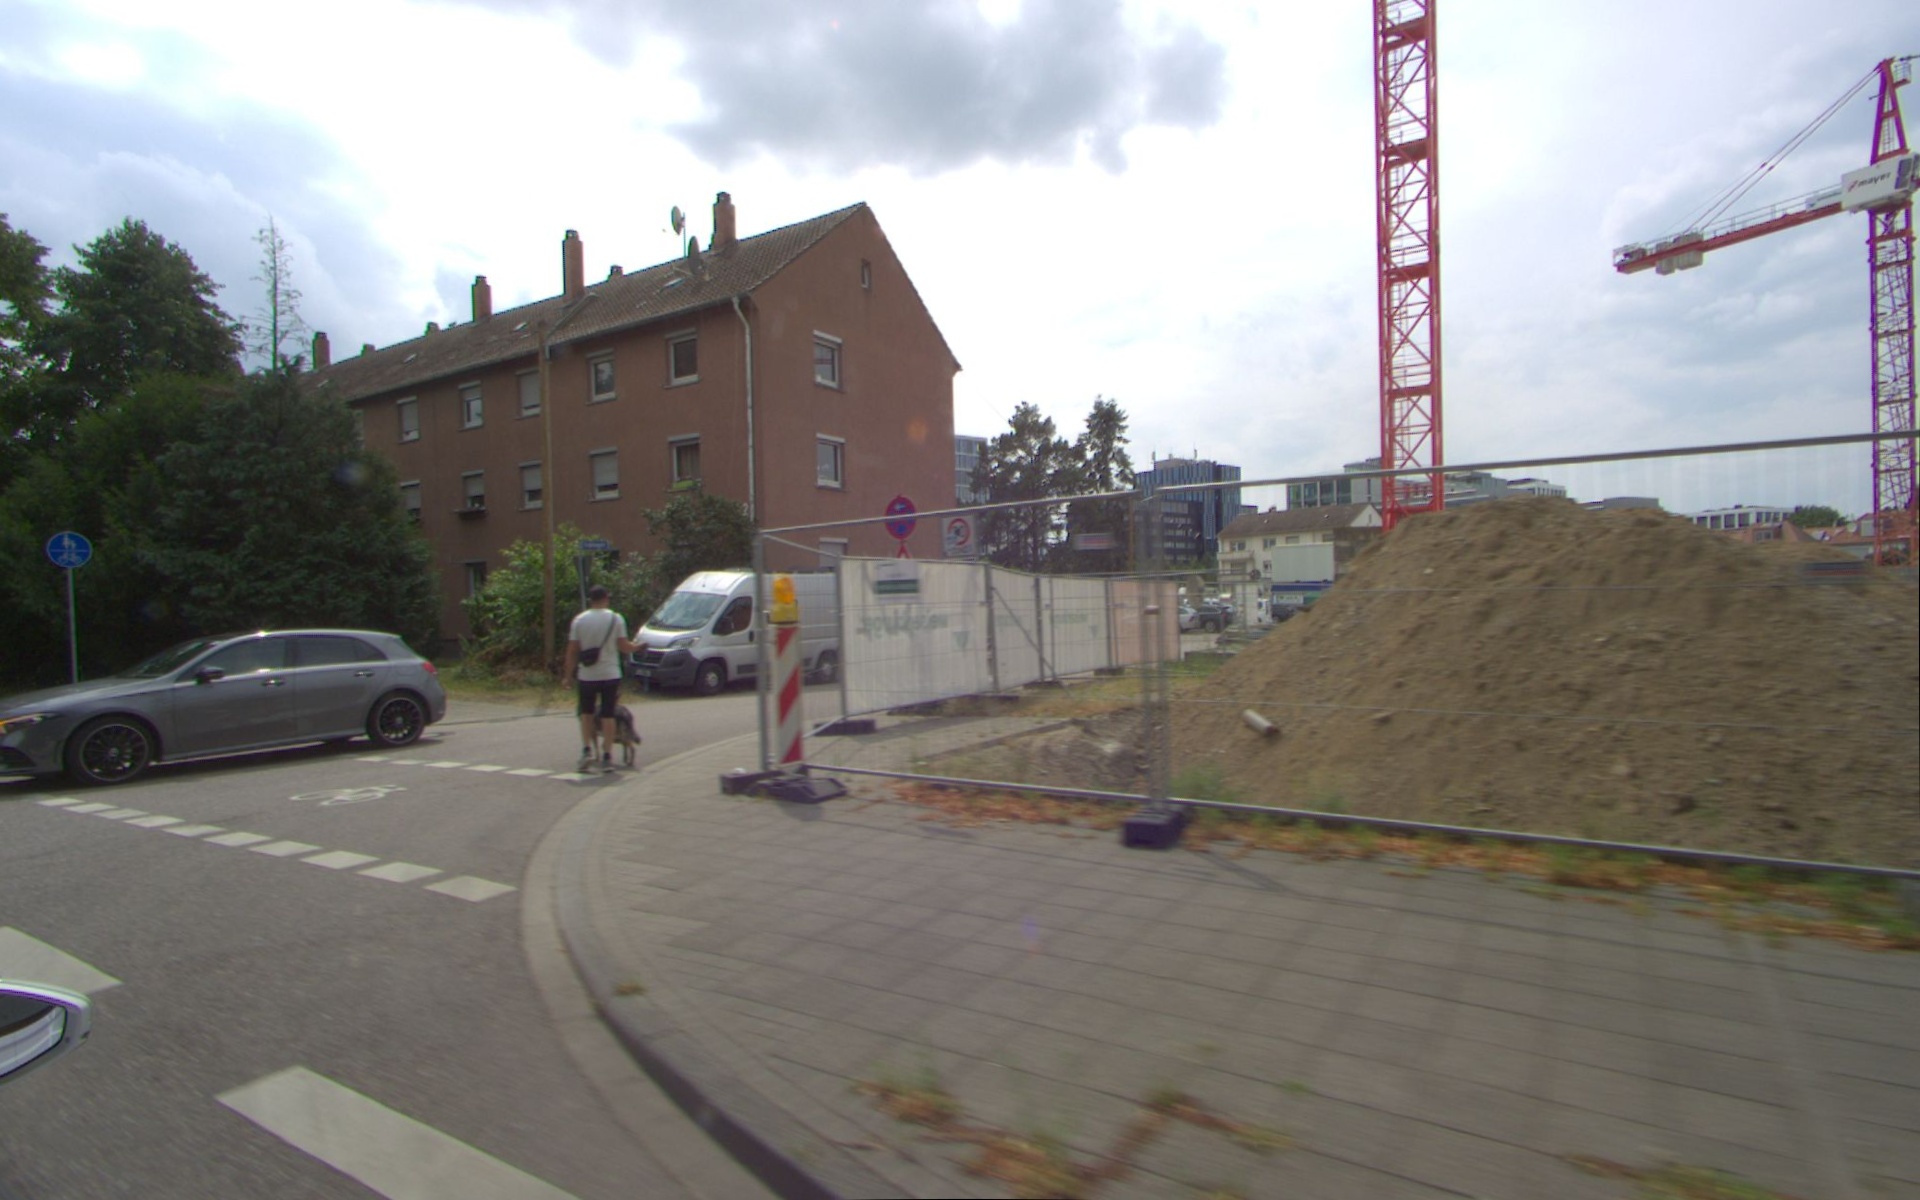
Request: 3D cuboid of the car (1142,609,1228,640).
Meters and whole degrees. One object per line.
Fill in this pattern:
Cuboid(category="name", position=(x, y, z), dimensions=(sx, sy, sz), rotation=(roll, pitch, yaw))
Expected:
Cuboid(category="car", position=(12.028, 1.282, 53.561), dimensions=(4.143, 1.435, 1.715), rotation=(1, 2, 29))

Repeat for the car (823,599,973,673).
Cuboid(category="car", position=(-1.581, 0.877, 26.889), dimensions=(1.875, 1.743, 4.182), rotation=(2, 2, 34))

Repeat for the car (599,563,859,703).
Cuboid(category="car", position=(-4.832, 0.568, 21.862), dimensions=(2.303, 2.668, 5.457), rotation=(2, 2, 34))

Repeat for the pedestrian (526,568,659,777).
Cuboid(category="pedestrian", position=(-3.485, 0.638, 9.488), dimensions=(0.874, 1.839, 0.881), rotation=(-3, 2, -39))

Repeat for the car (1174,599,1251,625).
Cuboid(category="car", position=(15.024, 0.681, 59.699), dimensions=(4.143, 1.435, 1.715), rotation=(1, 2, 29))

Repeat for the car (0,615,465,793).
Cuboid(category="car", position=(-8.204, 1.000, 11.192), dimensions=(1.984, 1.461, 4.359), rotation=(-3, -1, 34))

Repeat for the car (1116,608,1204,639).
Cuboid(category="car", position=(10.328, 1.193, 51.801), dimensions=(4.143, 1.435, 1.715), rotation=(1, 2, 29))
